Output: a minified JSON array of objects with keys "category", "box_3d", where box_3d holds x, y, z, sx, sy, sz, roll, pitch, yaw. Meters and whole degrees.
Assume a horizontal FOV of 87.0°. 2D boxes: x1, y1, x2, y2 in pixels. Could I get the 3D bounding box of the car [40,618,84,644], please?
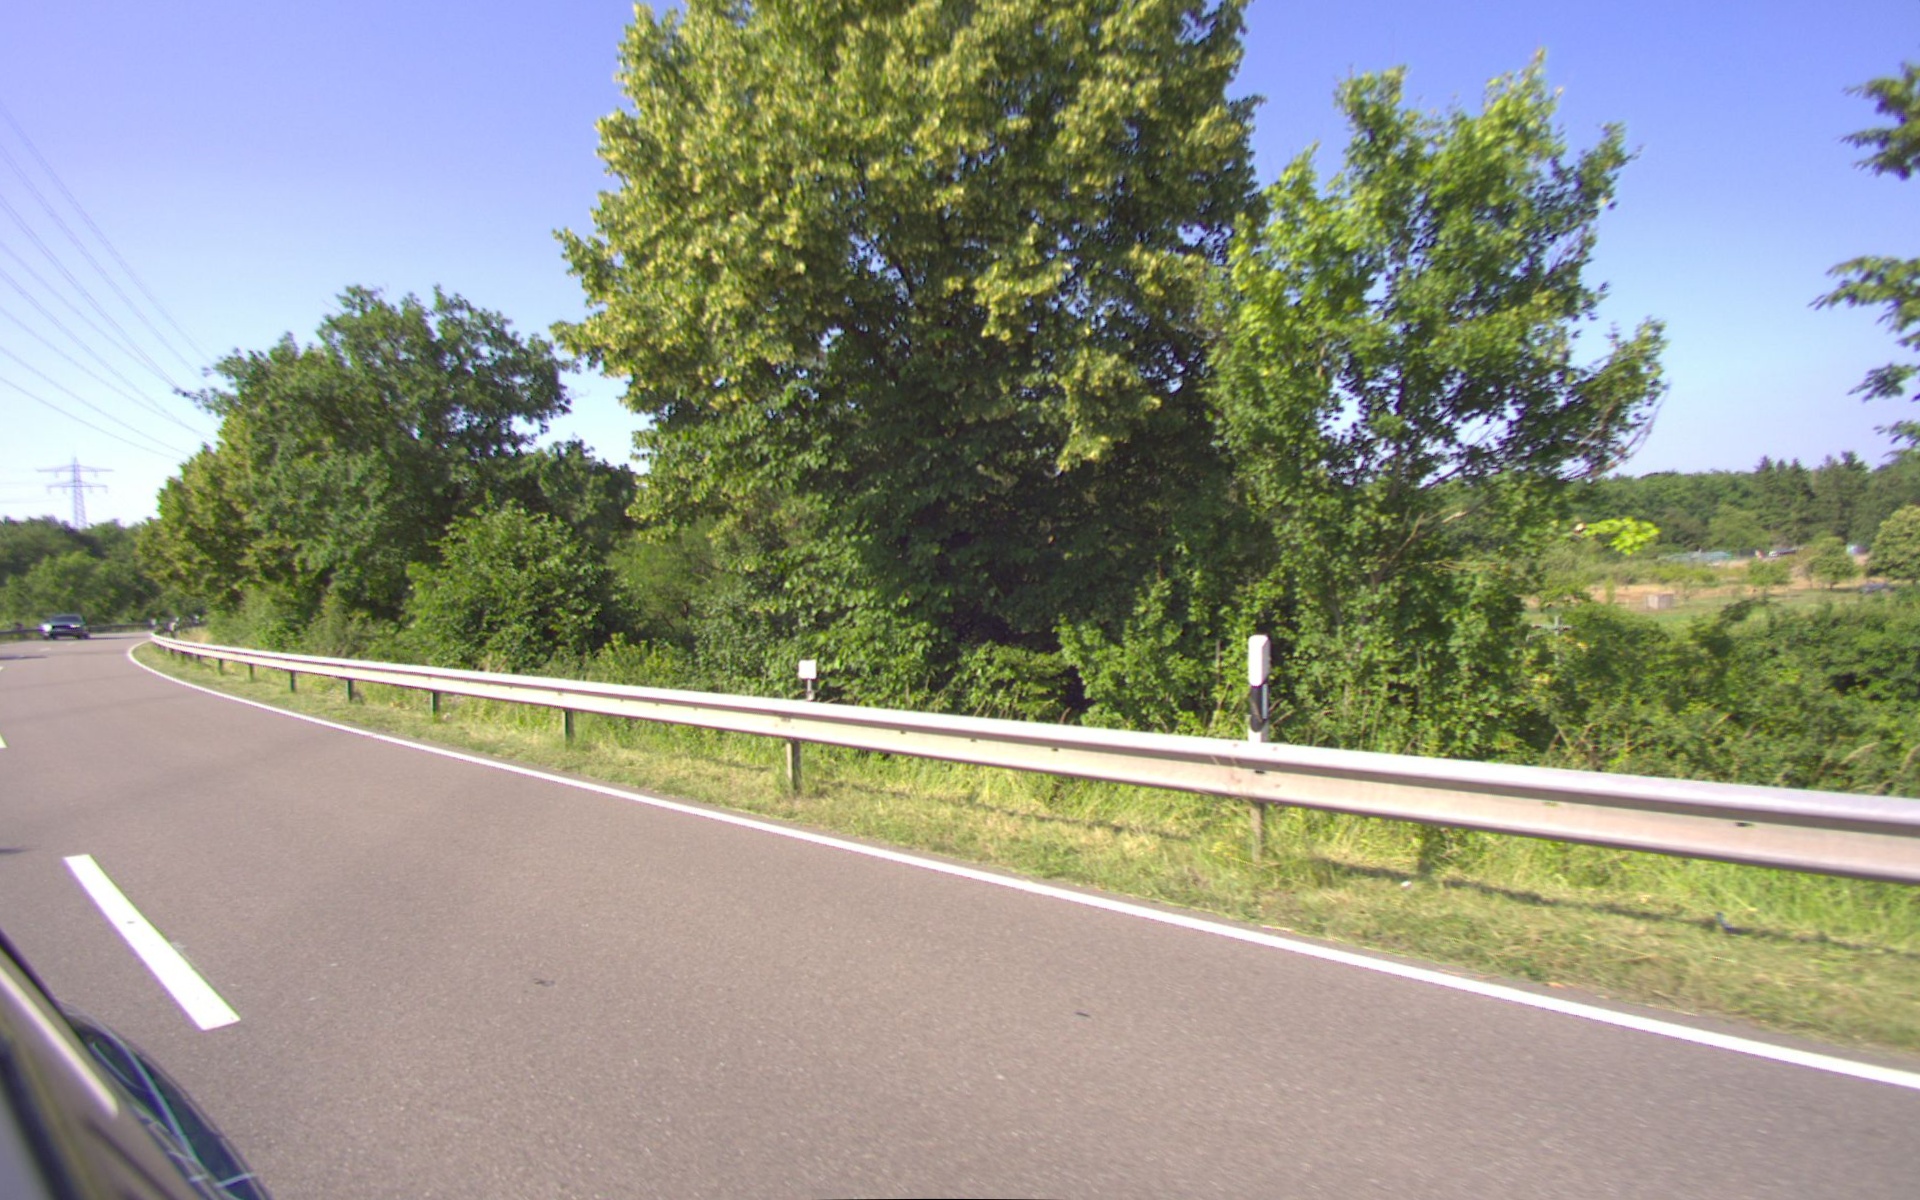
[{"category":"car","box_3d":[-58.813,2.000,66.322,1.581,1.506,4.011,-1,1,-34]}]
